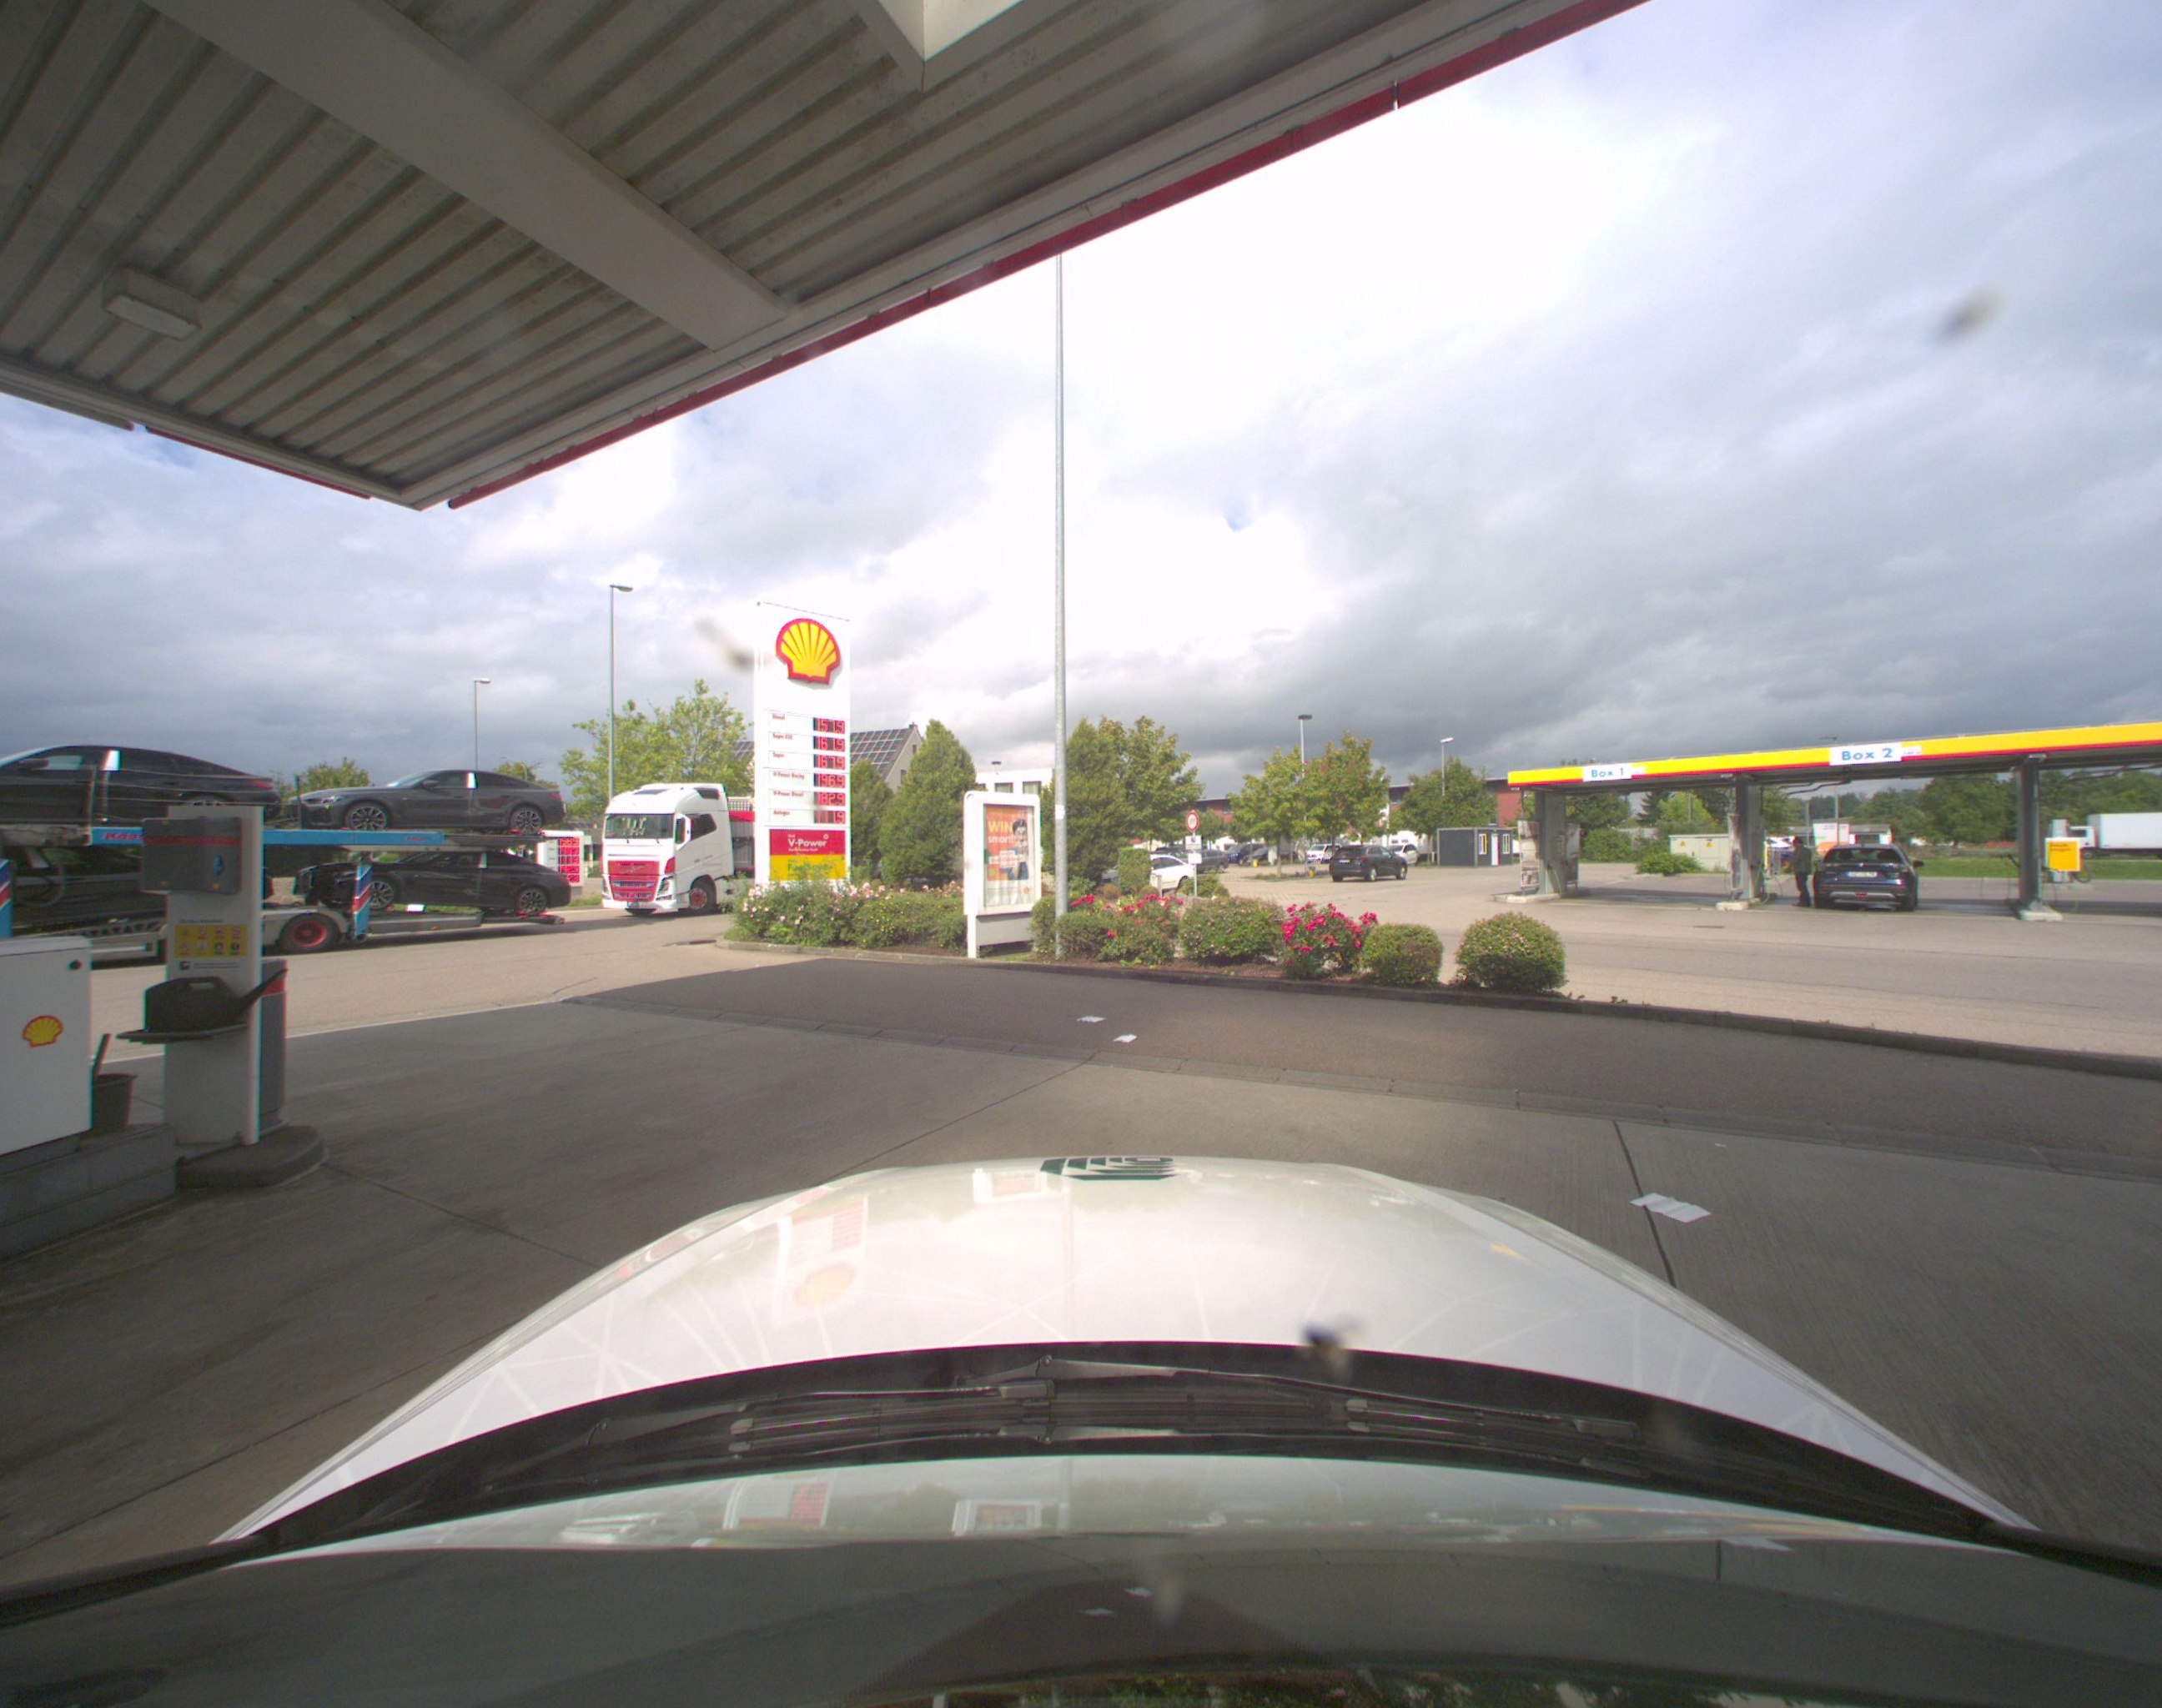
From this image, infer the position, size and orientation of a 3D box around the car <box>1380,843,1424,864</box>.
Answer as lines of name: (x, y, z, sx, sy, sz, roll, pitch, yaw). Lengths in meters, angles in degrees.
car: (20.611, -0.043, 52.219, 3.120, 1.307, 1.352, 0, -1, -42)

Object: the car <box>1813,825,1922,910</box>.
car: (19.440, 0.316, 20.079, 3.828, 1.897, 1.703, 0, -1, -43)

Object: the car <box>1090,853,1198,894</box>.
car: (2.396, 0.689, 30.025, 4.368, 1.404, 1.354, 0, -1, -42)

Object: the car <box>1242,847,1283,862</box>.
car: (14.497, 0.042, 64.879, 3.437, 1.179, 1.468, 0, -1, -42)

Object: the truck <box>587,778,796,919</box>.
truck: (-11.781, -0.121, 25.350, 2.713, 3.846, 5.940, -1, -1, 13)

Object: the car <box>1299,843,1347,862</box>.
car: (23.879, -0.115, 80.272, 4.903, 1.833, 2.159, 0, -1, -41)

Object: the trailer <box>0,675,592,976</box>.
trailer: (-16.434, -0.404, 13.690, 2.711, 4.423, 14.450, -1, -1, 31)

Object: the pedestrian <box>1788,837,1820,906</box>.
pedestrian: (18.289, 0.440, 20.620, 0.551, 1.722, 0.531, -1, -1, 39)

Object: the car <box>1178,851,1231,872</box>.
car: (7.543, 0.456, 49.710, 3.245, 1.228, 1.488, 0, -1, -42)

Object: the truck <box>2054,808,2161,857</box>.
truck: (78.234, -1.569, 60.008, 7.989, 3.534, 2.714, -1, -1, 41)

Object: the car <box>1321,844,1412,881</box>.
car: (12.879, 0.378, 36.584, 4.527, 1.548, 1.864, 0, -1, -41)

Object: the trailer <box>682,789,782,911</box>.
trailer: (-13.136, -0.058, 31.592, 2.739, 3.776, 12.628, 0, -1, -20)

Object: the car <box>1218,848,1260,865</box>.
car: (12.954, 0.190, 66.664, 3.407, 1.320, 1.726, 0, -1, -42)
